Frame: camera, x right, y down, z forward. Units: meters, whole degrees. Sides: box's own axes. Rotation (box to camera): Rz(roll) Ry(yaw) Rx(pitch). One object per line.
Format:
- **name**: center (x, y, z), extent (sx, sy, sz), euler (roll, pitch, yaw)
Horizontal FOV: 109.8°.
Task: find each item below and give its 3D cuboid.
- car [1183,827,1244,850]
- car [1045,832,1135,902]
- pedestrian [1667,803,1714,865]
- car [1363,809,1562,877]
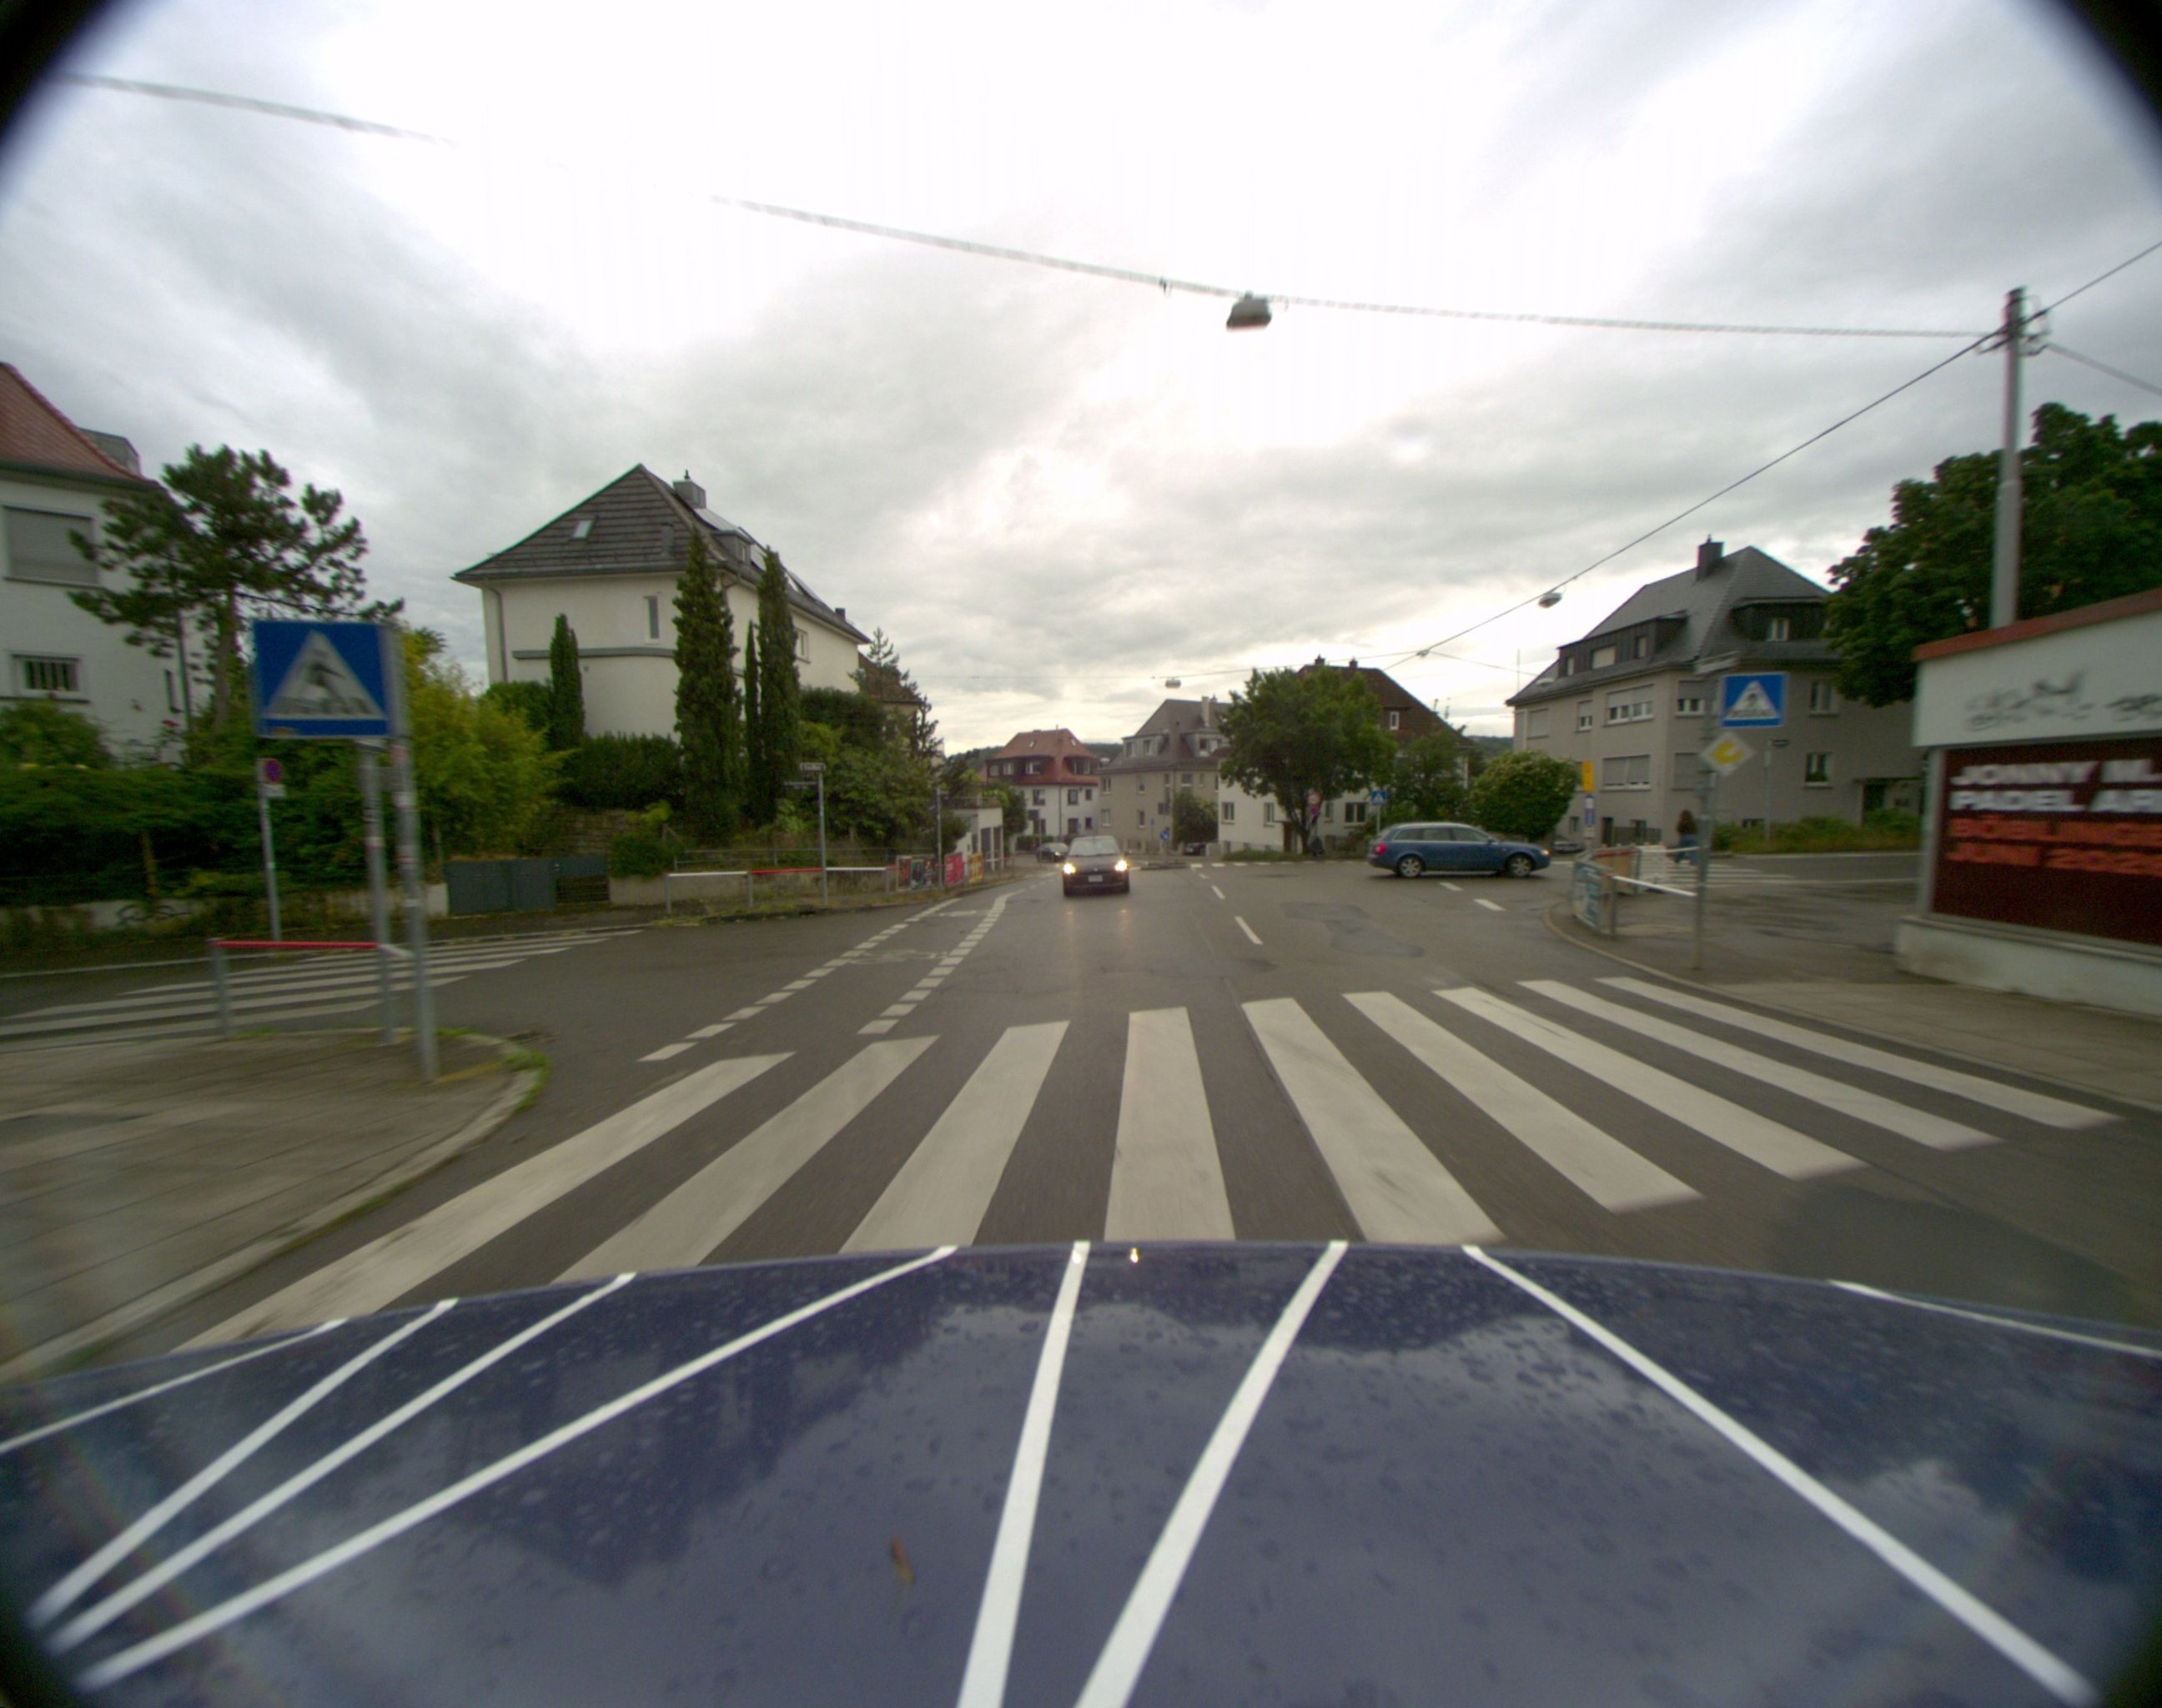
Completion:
- **car**: center (10.248, -1.209, 58.850), extent (4.225, 1.664, 1.875), euler (-3, 2, -16)
- **car**: center (0.342, 0.264, 19.282), extent (1.891, 1.521, 4.058), euler (-2, 1, 6)
- **pedestrian**: center (16.468, -0.540, 20.537), extent (0.794, 1.602, 0.644), euler (-2, 2, 13)
- **car**: center (10.173, -0.313, 20.643), extent (4.479, 1.479, 2.000), euler (-2, 5, 14)
